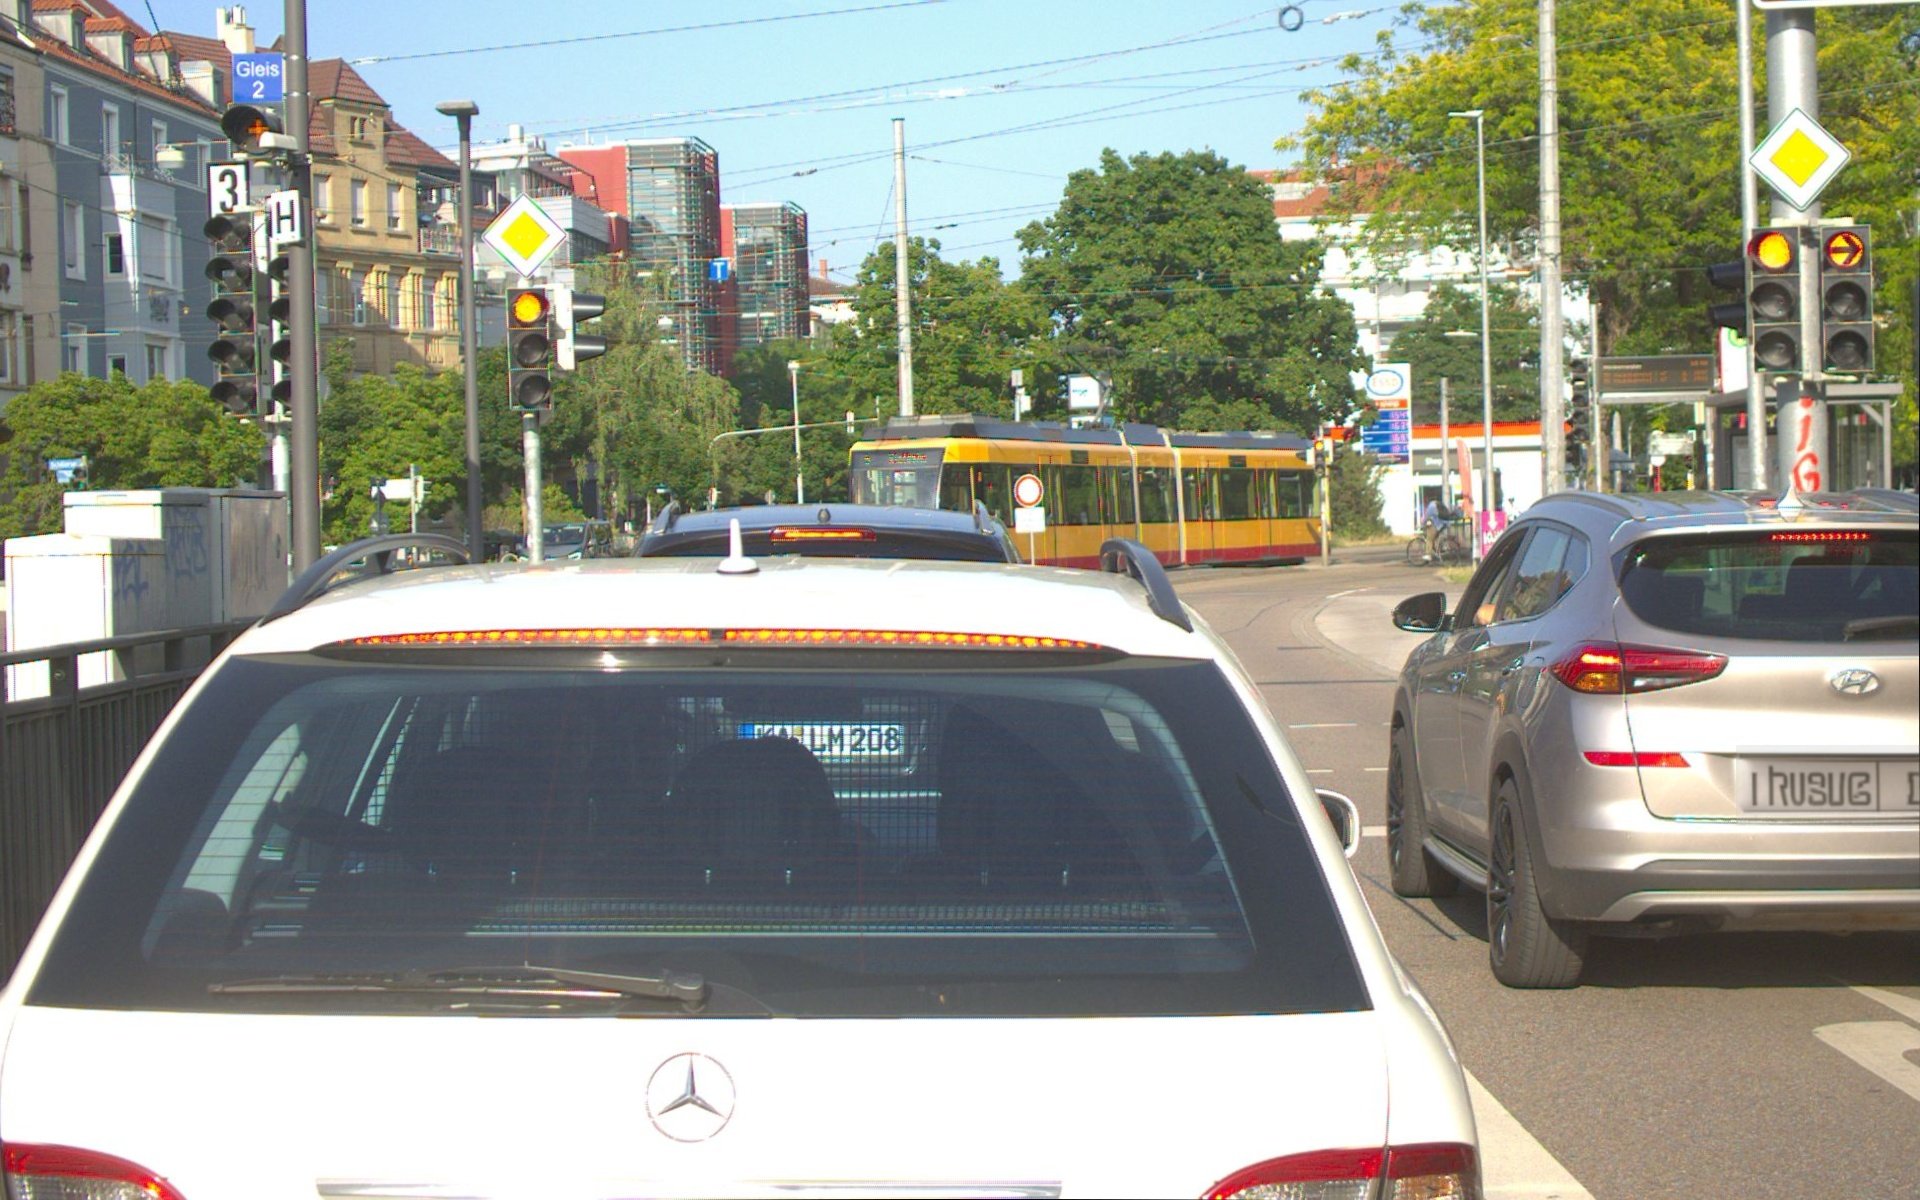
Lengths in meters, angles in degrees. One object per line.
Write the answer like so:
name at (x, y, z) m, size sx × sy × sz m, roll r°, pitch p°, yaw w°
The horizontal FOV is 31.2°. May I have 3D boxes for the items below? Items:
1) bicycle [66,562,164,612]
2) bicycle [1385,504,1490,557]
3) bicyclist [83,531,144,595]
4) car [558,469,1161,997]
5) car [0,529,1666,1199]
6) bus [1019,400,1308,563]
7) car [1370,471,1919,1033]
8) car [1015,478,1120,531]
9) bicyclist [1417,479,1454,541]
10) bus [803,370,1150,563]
bicycle at (-17.141, -0.277, 69.809) m, size 0.785 × 0.911 × 2.996 m, roll -1°, pitch 1°, yaw 10°
bicycle at (11.601, -1.688, 83.517) m, size 2.483 × 1.209 × 0.806 m, roll -1°, pitch 1°, yaw 8°
bicyclist at (-17.163, -0.758, 69.721) m, size 0.763 × 1.257 × 1.174 m, roll -1°, pitch 1°, yaw 10°
car at (-0.334, 0.380, 12.678) m, size 1.885 × 1.645 × 3.648 m, roll 1°, pitch 1°, yaw 0°
car at (-0.275, 0.634, 4.969) m, size 1.796 × 1.465 × 3.648 m, roll 0°, pitch 1°, yaw -1°
bus at (5.101, -2.708, 82.484) m, size 3.112 × 3.593 × 12.577 m, roll 1°, pitch 1°, yaw 22°
car at (2.643, 0.404, 12.108) m, size 1.885 × 1.645 × 3.648 m, roll -2°, pitch 1°, yaw 0°
car at (4.195, -3.740, 134.576) m, size 3.986 × 2.007 × 2.000 m, roll 1°, pitch 1°, yaw -1°
bicyclist at (11.551, -2.192, 83.504) m, size 0.861 × 1.476 × 0.789 m, roll -1°, pitch 1°, yaw 8°
bus at (0.607, -2.592, 70.872) m, size 3.112 × 3.593 × 12.362 m, roll 1°, pitch 1°, yaw 20°
